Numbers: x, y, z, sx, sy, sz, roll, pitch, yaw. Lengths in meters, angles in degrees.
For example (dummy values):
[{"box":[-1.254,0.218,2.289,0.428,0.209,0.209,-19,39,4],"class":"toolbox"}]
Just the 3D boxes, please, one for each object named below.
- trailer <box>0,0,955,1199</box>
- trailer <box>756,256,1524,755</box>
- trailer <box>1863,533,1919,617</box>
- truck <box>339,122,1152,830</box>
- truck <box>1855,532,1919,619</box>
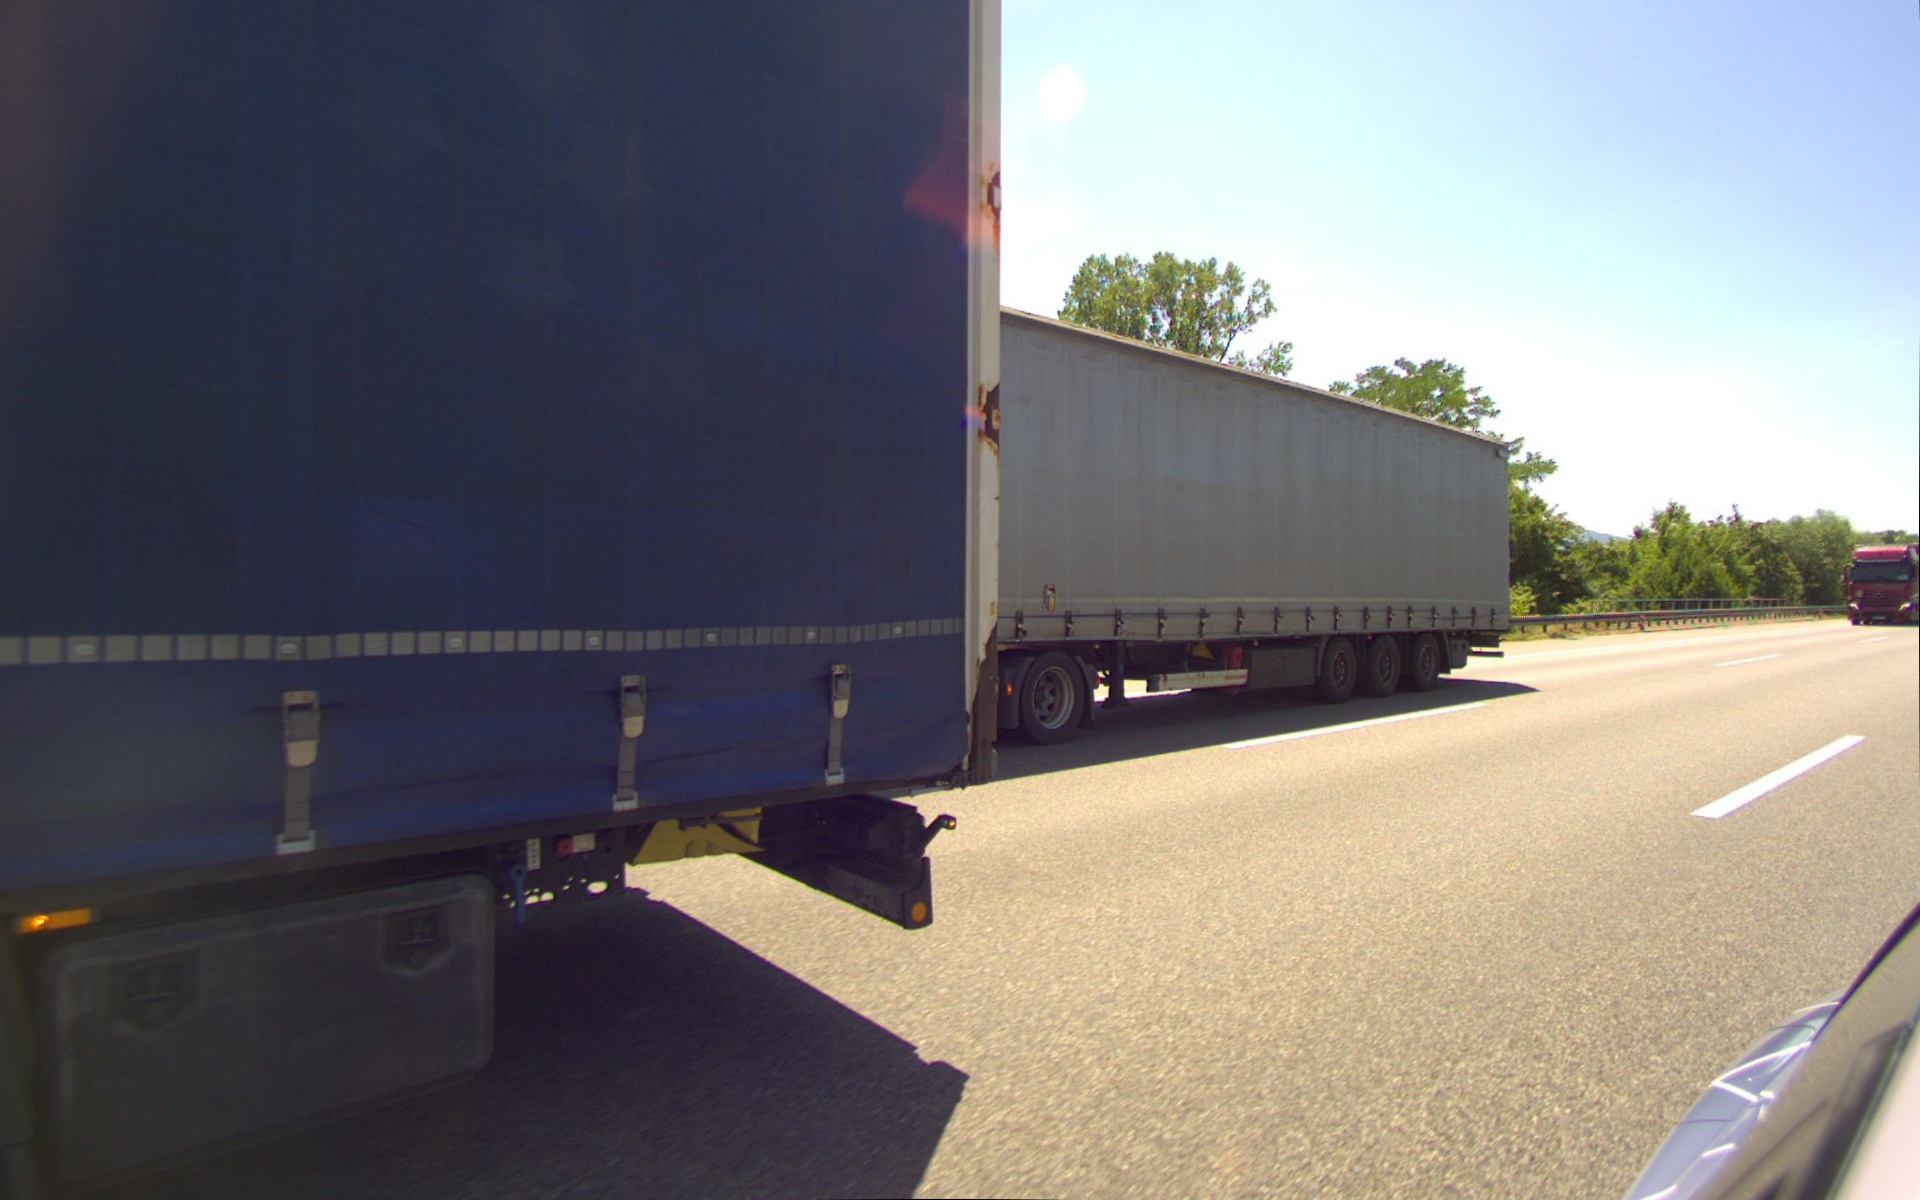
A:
[{"box":[-5.403,-0.681,0.285,11.919,4.169,2.705,-1,1,-41],"class":"trailer"},{"box":[3.671,-0.876,13.756,13.009,4.169,2.705,-1,1,-41],"class":"trailer"},{"box":[51.782,-1.336,54.860,12.087,4.169,2.800,-1,1,-41],"class":"trailer"},{"box":[-1.459,-0.780,9.262,6.870,4.169,2.705,-1,1,-41],"class":"truck"},{"box":[48.099,-1.231,51.571,7.635,4.169,2.800,-1,1,-41],"class":"truck"}]
